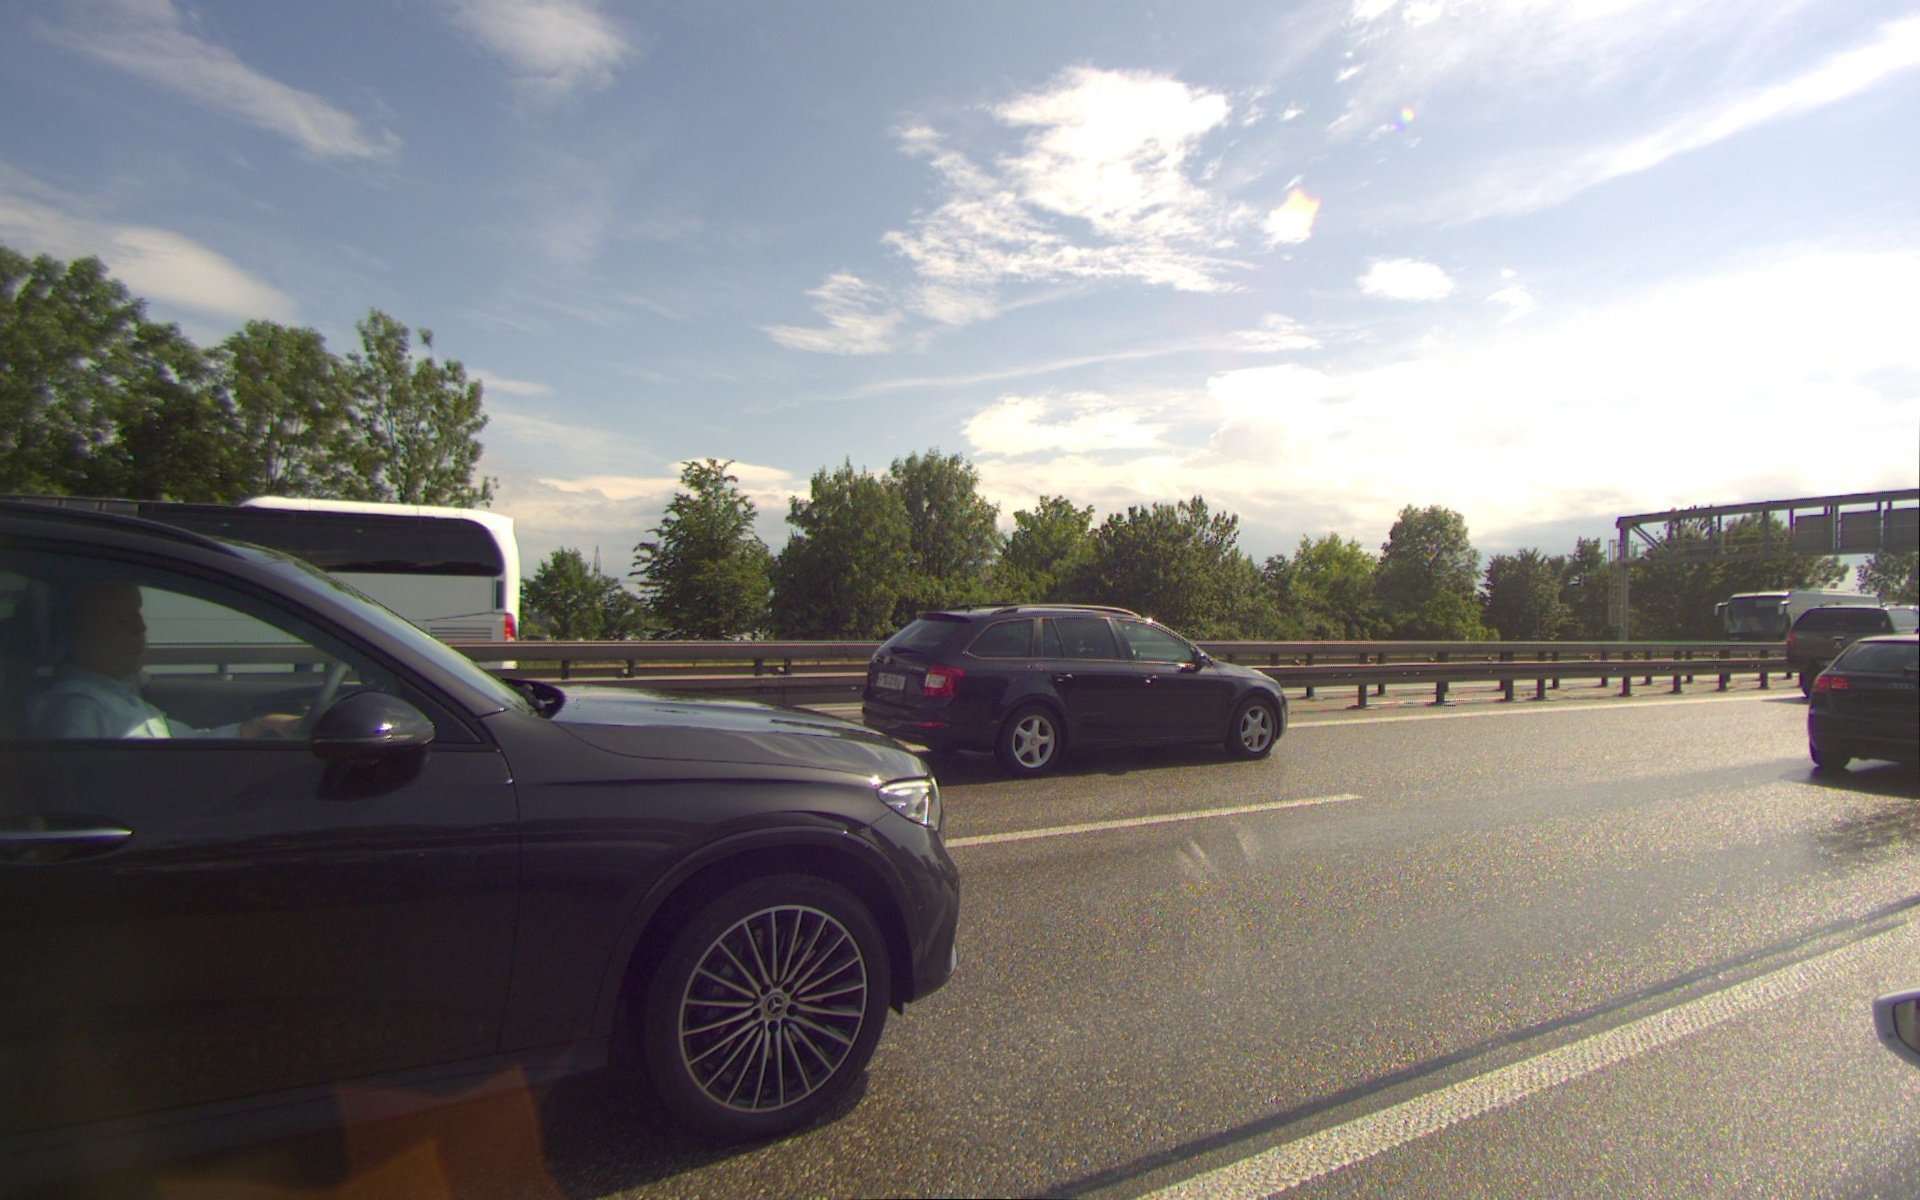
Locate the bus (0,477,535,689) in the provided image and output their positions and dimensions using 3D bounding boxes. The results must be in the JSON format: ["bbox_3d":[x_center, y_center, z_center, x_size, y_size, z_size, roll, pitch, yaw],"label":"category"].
[{"bbox_3d":[-14.598,-0.239,18.336,12.323,3.419,2.877,1,0,-30],"label":"bus"}]

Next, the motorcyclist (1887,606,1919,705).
[{"bbox_3d":[15.596,0.889,16.109,1.080,1.558,0.792,1,0,-30],"label":"motorcyclist"}]

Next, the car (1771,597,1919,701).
[{"bbox_3d":[18.629,0.921,20.174,5.352,1.869,1.798,1,0,-29],"label":"car"}]

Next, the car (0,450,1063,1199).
[{"bbox_3d":[-2.124,0.569,2.792,4.571,1.701,1.868,1,0,-30],"label":"car"}]

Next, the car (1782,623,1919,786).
[{"bbox_3d":[10.356,0.990,10.272,4.006,1.452,1.742,1,0,-30],"label":"car"}]

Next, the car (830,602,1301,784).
[{"bbox_3d":[1.089,0.785,9.896,4.319,1.444,1.911,1,0,-29],"label":"car"}]

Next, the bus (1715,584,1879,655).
[{"bbox_3d":[43.111,1.032,51.562,12.077,3.330,2.923,1,0,-32],"label":"bus"}]

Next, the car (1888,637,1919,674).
[{"bbox_3d":[40.999,2.326,42.326,3.954,1.461,1.767,1,0,-31],"label":"car"}]
